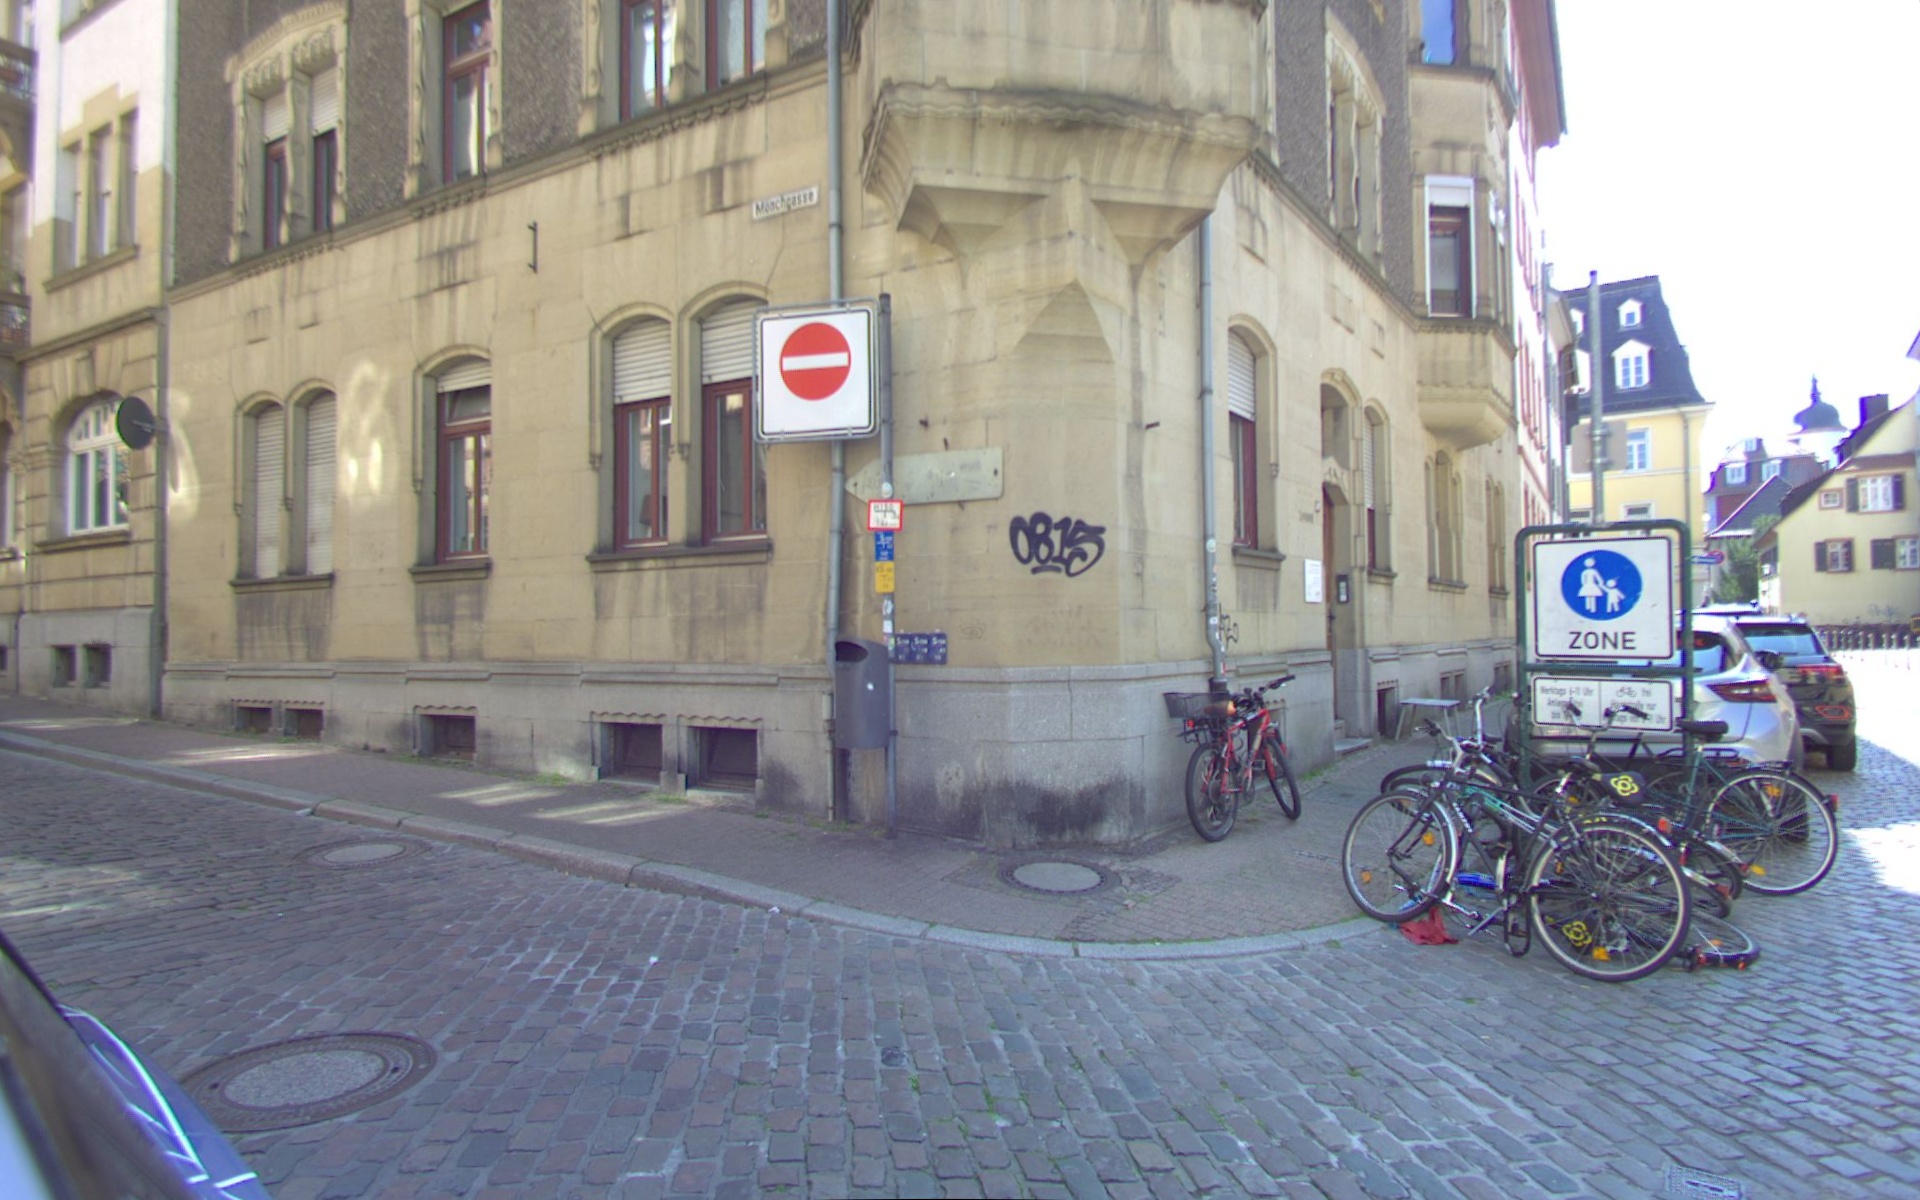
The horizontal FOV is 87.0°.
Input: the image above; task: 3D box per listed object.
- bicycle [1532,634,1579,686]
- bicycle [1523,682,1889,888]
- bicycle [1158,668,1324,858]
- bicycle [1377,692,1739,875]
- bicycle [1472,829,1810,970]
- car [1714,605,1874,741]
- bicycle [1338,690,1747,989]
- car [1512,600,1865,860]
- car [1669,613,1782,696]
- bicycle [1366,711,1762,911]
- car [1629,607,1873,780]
[{"bbox_3d":[13.513,1.339,22.968,1.581,1.107,0.483,0,-1,-43],"label":"bicycle"},{"bbox_3d":[4.185,1.050,5.756,1.625,1.094,0.285,-3,-4,11],"label":"bicycle"},{"bbox_3d":[2.008,1.068,7.092,0.495,1.094,1.621,3,1,37],"label":"bicycle"},{"bbox_3d":[3.269,1.023,5.704,1.634,1.080,0.287,-1,42,28],"label":"bicycle"},{"bbox_3d":[3.385,1.446,5.062,1.061,0.290,1.126,1,-2,-38],"label":"bicycle"},{"bbox_3d":[11.818,0.905,14.412,1.567,1.648,3.810,-1,0,39],"label":"car"},{"bbox_3d":[2.634,1.020,4.775,0.281,1.094,1.646,-3,0,-38],"label":"bicycle"},{"bbox_3d":[5.859,0.841,8.212,1.850,1.556,3.879,-2,-2,37],"label":"car"},{"bbox_3d":[15.385,1.016,20.330,1.661,1.454,3.811,-1,0,38],"label":"car"},{"bbox_3d":[3.035,1.083,5.269,1.634,1.080,0.287,-1,42,28],"label":"bicycle"},{"bbox_3d":[8.854,0.871,11.402,1.850,1.556,3.948,-1,0,38],"label":"car"}]
